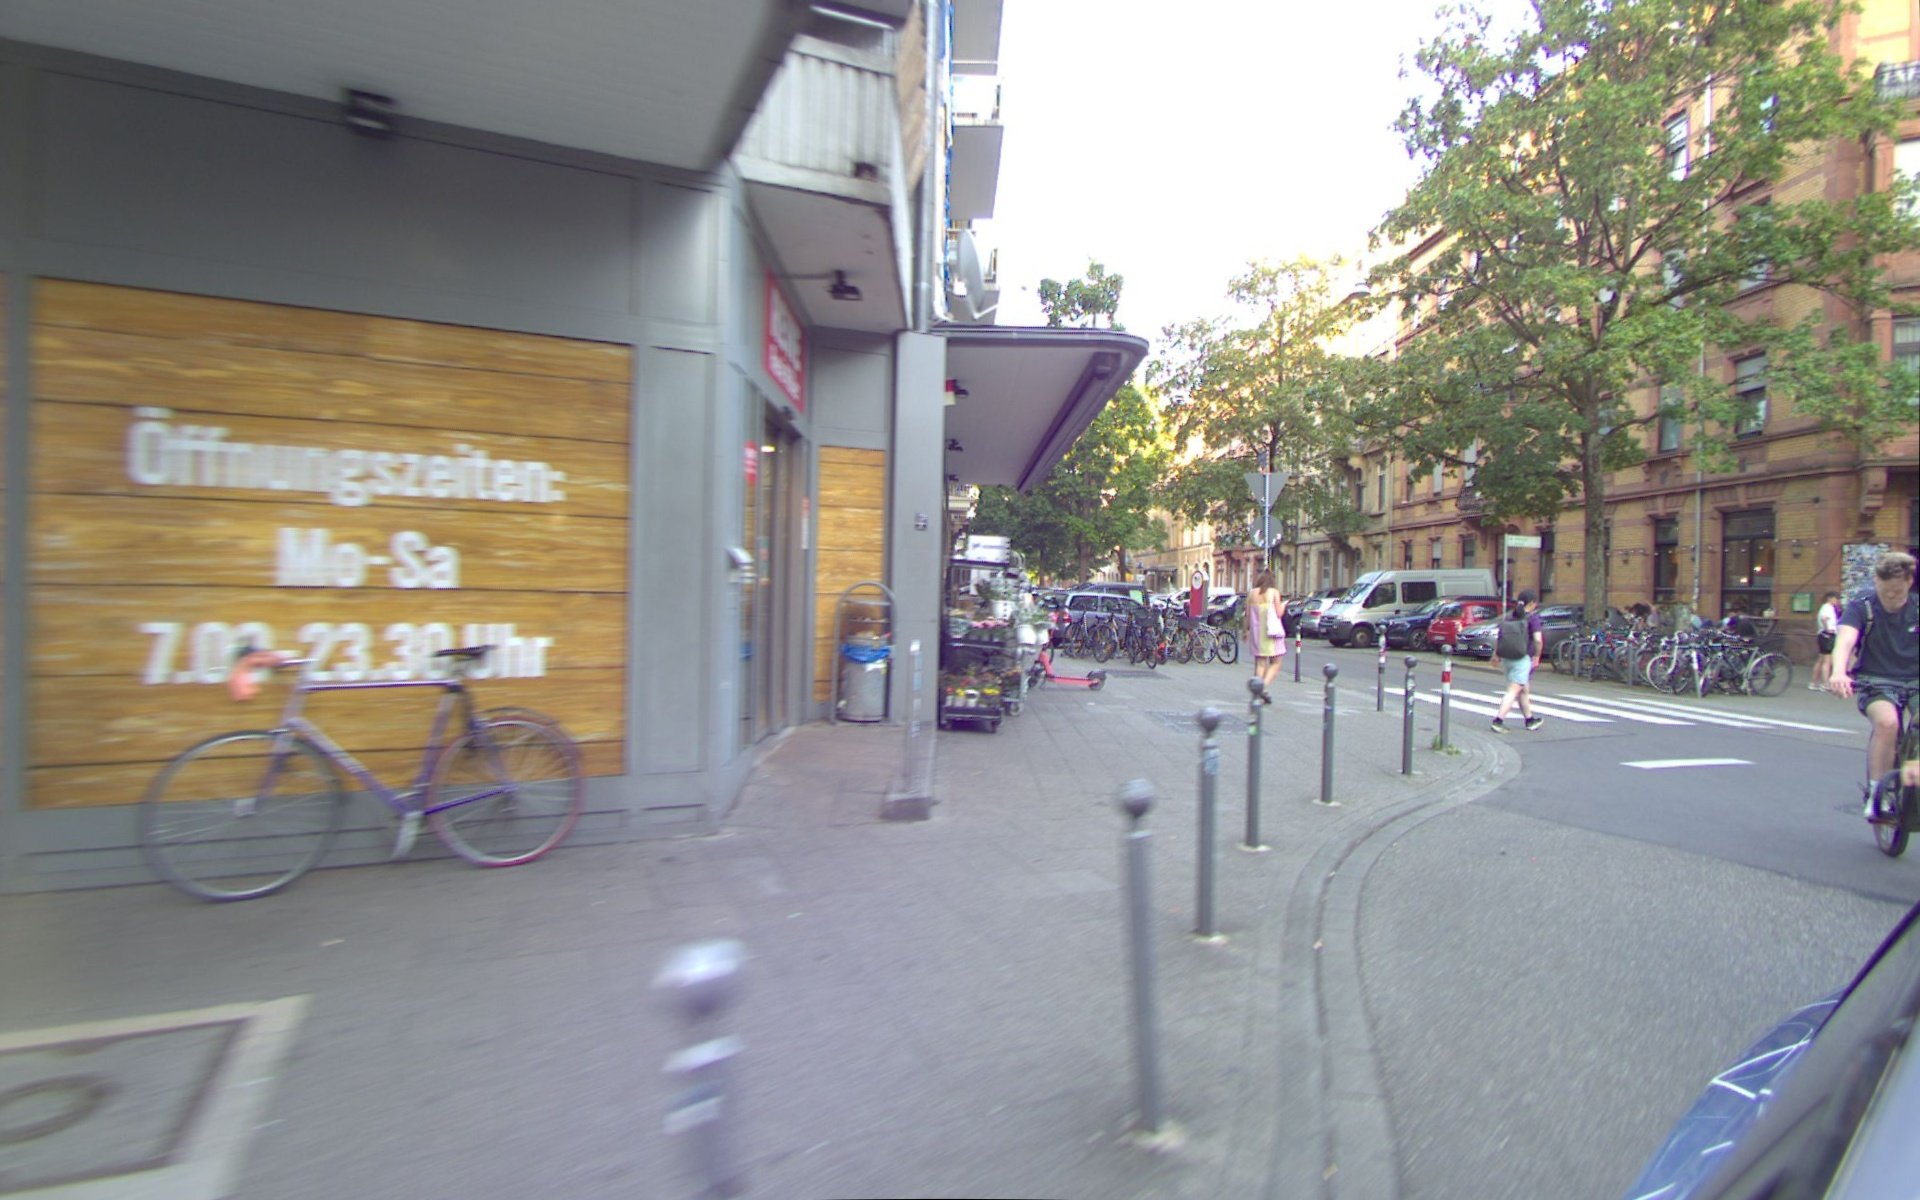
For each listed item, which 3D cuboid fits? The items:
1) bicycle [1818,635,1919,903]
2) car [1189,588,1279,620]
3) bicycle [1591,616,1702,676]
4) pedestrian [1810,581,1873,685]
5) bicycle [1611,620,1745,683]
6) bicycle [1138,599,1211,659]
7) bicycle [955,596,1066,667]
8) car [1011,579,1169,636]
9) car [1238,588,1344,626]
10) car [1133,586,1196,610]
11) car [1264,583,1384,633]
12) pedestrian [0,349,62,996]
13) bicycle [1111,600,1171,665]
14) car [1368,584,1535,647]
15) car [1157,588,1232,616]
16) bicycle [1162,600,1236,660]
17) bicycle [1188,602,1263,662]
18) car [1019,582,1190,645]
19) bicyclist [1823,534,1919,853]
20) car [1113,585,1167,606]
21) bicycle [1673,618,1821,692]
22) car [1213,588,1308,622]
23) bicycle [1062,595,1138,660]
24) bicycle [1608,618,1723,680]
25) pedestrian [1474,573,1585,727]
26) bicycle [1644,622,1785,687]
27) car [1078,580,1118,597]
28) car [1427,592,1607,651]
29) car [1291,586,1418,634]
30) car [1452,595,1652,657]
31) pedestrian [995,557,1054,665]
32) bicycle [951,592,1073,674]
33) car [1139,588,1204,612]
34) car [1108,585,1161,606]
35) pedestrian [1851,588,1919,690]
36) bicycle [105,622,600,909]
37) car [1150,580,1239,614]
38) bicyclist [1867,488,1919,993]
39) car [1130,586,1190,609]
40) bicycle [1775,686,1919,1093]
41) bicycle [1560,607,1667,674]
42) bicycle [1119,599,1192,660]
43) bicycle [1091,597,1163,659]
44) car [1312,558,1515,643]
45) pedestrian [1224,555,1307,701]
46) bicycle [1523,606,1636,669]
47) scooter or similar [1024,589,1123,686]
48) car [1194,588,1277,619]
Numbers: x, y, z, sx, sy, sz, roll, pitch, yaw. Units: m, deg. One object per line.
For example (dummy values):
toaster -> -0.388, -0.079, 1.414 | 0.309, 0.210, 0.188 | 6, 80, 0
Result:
bicycle -> 5.078, 0.788, 5.328 | 0.790, 1.154, 2.309 | 1, -1, 39
car -> 13.597, 0.195, 50.314 | 3.896, 1.556, 1.853 | 0, 1, -5
bicycle -> 13.283, 0.878, 19.593 | 1.845, 1.091, 0.714 | 0, 0, -14
pedestrian -> 15.340, 0.554, 17.618 | 0.628, 1.767, 0.675 | 0, 0, -33
bicycle -> 12.846, 0.910, 18.149 | 1.850, 1.071, 0.712 | 0, 0, 3
bicycle -> 4.365, 0.580, 20.727 | 0.558, 1.095, 1.788 | 2, 2, -20
bicycle -> 0.852, 0.510, 17.161 | 1.760, 1.069, 0.567 | 3, 1, 17
car -> 3.763, 0.174, 28.874 | 4.369, 1.506, 1.950 | -1, 1, -37
car -> 14.259, 0.284, 43.697 | 3.896, 1.556, 1.853 | 0, 1, -5
car -> 13.957, -0.150, 69.150 | 3.835, 1.553, 1.793 | 0, 0, -2
car -> 13.828, 0.272, 38.629 | 3.901, 1.847, 1.851 | 0, 0, 1
pedestrian -> -3.413, 0.215, 2.828 | 1.165, 1.935, 0.765 | 1, 3, -24
bicycle -> 3.348, 0.582, 18.847 | 0.558, 1.096, 1.786 | 2, 1, -6
car -> 14.160, 0.426, 29.311 | 3.901, 1.683, 1.764 | -1, 0, 1
car -> 13.455, 0.087, 58.170 | 3.792, 1.556, 1.735 | 0, 0, -5
bicycle -> 4.918, 0.605, 20.939 | 0.558, 1.095, 1.788 | 2, 2, -20
bicycle -> 5.528, 0.648, 21.146 | 0.558, 1.095, 1.788 | 2, 2, -20
car -> 3.764, 0.288, 25.980 | 4.369, 1.506, 1.792 | -1, 1, -37
bicyclist -> 5.088, 0.472, 5.335 | 0.791, 1.592, 0.814 | 0, -1, 39
car -> 13.930, -0.373, 78.554 | 3.835, 1.618, 1.793 | 0, 0, -2
bicycle -> 12.944, 0.890, 16.687 | 1.850, 1.169, 0.712 | 0, 0, 3
car -> 14.251, 0.222, 48.144 | 3.896, 1.556, 1.853 | 0, 1, -5
bicycle -> 2.698, 0.509, 19.725 | 0.669, 1.125, 1.788 | 2, 2, -20
bicycle -> 13.245, 0.896, 19.005 | 1.845, 1.091, 0.714 | 0, 0, -14
pedestrian -> 6.228, 0.536, 11.082 | 0.850, 1.627, 0.540 | 2, 1, -13
bicycle -> 12.943, 0.933, 17.399 | 1.850, 1.065, 0.712 | 0, 0, 3
car -> 14.309, -1.194, 105.123 | 3.835, 1.650, 1.793 | 0, 0, -2
car -> 14.879, 0.561, 27.171 | 3.901, 1.521, 1.628 | 0, 0, 1
car -> 14.249, 0.340, 36.677 | 3.901, 1.683, 1.764 | 0, 0, 1
car -> 14.391, 0.607, 24.733 | 3.901, 1.438, 1.628 | 0, 0, 1
pedestrian -> 1.059, 0.169, 16.912 | 0.843, 1.737, 0.769 | 3, 1, -1
bicycle -> 0.803, 0.487, 15.641 | 1.760, 1.140, 0.606 | 3, 1, 17
car -> 13.785, -0.023, 66.176 | 3.835, 1.553, 1.793 | 0, 0, -2
car -> 13.948, -0.343, 80.859 | 3.835, 1.650, 1.793 | 0, 0, -2
pedestrian -> 15.436, 0.632, 16.862 | 0.631, 1.658, 0.672 | 0, 0, 12
bicycle -> -2.499, 0.630, 4.362 | 1.746, 1.037, 0.458 | 0, 0, -26
car -> 14.113, -0.196, 61.069 | 4.754, 2.037, 2.204 | 0, 0, -3
bicyclist -> 3.410, 0.424, 3.058 | 0.933, 1.527, 0.652 | 0, 0, -22
car -> 14.060, -0.203, 71.222 | 3.835, 1.568, 1.793 | 0, 0, -2
bicycle -> 3.437, 0.798, 3.079 | 1.878, 1.031, 0.660 | -1, 0, -22
bicycle -> 12.982, 0.790, 20.113 | 1.845, 1.255, 0.714 | 0, 0, -14
bicycle -> 3.897, 0.572, 20.309 | 0.558, 1.095, 1.788 | 2, 2, -20
bicycle -> 3.300, 0.543, 20.148 | 0.558, 1.095, 1.788 | 2, 2, -20
car -> 14.206, 0.004, 31.899 | 5.382, 2.487, 2.122 | -1, 0, -2
pedestrian -> 3.860, 0.334, 12.792 | 0.691, 1.767, 0.701 | 3, 1, 43
bicycle -> 12.820, 0.759, 20.976 | 1.853, 1.255, 0.711 | 0, 0, 9
scooter or similar -> 1.519, 0.499, 13.588 | 1.207, 1.248, 0.416 | 2, 0, -9
car -> 14.344, 0.157, 52.843 | 3.792, 1.556, 1.735 | 0, 0, -5
